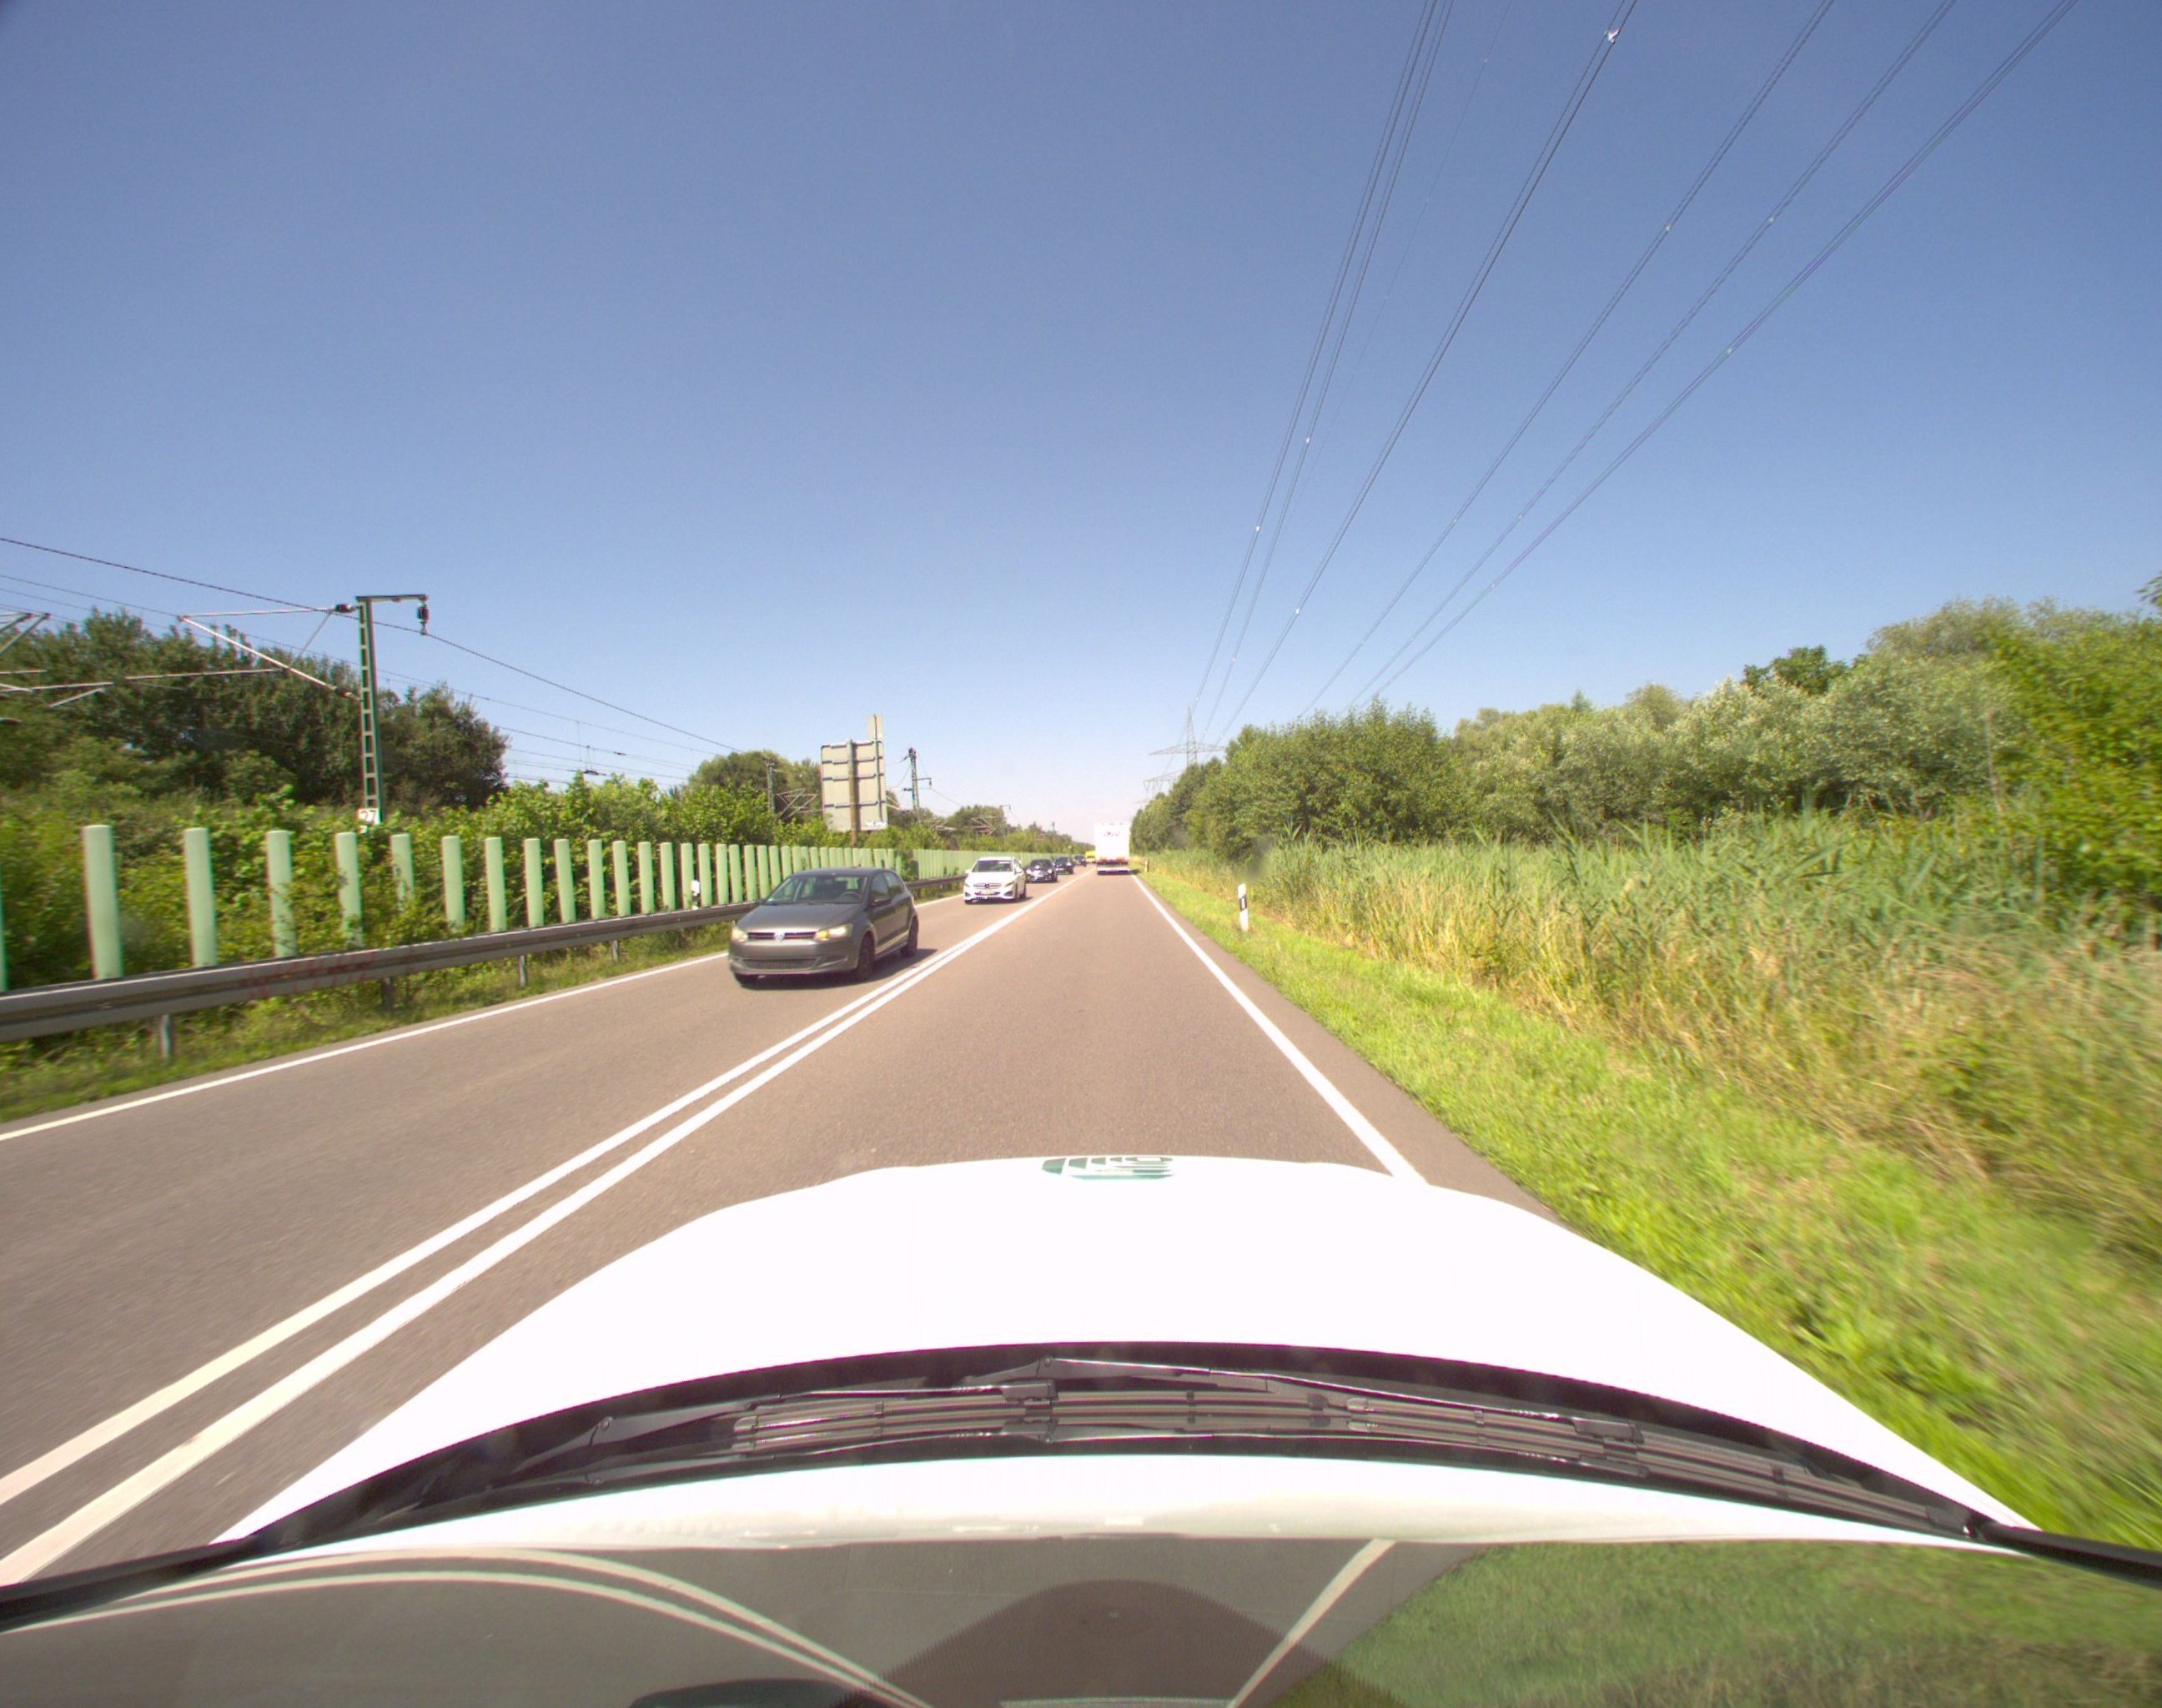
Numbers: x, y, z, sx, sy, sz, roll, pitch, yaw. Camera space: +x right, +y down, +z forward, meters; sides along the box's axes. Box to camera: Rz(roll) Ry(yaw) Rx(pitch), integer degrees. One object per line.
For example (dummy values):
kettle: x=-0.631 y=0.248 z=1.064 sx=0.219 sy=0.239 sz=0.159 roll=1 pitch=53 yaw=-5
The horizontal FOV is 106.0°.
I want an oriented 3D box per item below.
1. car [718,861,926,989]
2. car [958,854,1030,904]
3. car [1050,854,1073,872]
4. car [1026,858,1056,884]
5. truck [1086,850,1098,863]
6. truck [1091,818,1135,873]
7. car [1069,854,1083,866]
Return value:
car: x=-3.425 y=0.859 z=11.527 sx=1.608 sy=1.441 sz=3.796 roll=-2 pitch=0 yaw=2
car: x=-3.009 y=0.839 z=29.024 sx=1.817 sy=1.605 sz=4.326 roll=-1 pitch=0 yaw=3
car: x=-1.663 y=0.763 z=70.315 sx=1.666 sy=1.515 sz=4.291 roll=-2 pitch=0 yaw=2
car: x=-2.360 y=0.987 z=48.675 sx=1.500 sy=1.435 sz=3.744 roll=-2 pitch=0 yaw=2
truck: x=2.084 y=0.486 z=150.141 sx=1.985 sy=2.348 sz=6.016 roll=-1 pitch=0 yaw=3
truck: x=2.645 y=-0.607 z=67.706 sx=3.180 sy=4.042 sz=12.012 roll=-2 pitch=0 yaw=2
car: x=-0.675 y=0.870 z=116.282 sx=1.794 sy=1.587 sz=4.373 roll=-2 pitch=0 yaw=3
